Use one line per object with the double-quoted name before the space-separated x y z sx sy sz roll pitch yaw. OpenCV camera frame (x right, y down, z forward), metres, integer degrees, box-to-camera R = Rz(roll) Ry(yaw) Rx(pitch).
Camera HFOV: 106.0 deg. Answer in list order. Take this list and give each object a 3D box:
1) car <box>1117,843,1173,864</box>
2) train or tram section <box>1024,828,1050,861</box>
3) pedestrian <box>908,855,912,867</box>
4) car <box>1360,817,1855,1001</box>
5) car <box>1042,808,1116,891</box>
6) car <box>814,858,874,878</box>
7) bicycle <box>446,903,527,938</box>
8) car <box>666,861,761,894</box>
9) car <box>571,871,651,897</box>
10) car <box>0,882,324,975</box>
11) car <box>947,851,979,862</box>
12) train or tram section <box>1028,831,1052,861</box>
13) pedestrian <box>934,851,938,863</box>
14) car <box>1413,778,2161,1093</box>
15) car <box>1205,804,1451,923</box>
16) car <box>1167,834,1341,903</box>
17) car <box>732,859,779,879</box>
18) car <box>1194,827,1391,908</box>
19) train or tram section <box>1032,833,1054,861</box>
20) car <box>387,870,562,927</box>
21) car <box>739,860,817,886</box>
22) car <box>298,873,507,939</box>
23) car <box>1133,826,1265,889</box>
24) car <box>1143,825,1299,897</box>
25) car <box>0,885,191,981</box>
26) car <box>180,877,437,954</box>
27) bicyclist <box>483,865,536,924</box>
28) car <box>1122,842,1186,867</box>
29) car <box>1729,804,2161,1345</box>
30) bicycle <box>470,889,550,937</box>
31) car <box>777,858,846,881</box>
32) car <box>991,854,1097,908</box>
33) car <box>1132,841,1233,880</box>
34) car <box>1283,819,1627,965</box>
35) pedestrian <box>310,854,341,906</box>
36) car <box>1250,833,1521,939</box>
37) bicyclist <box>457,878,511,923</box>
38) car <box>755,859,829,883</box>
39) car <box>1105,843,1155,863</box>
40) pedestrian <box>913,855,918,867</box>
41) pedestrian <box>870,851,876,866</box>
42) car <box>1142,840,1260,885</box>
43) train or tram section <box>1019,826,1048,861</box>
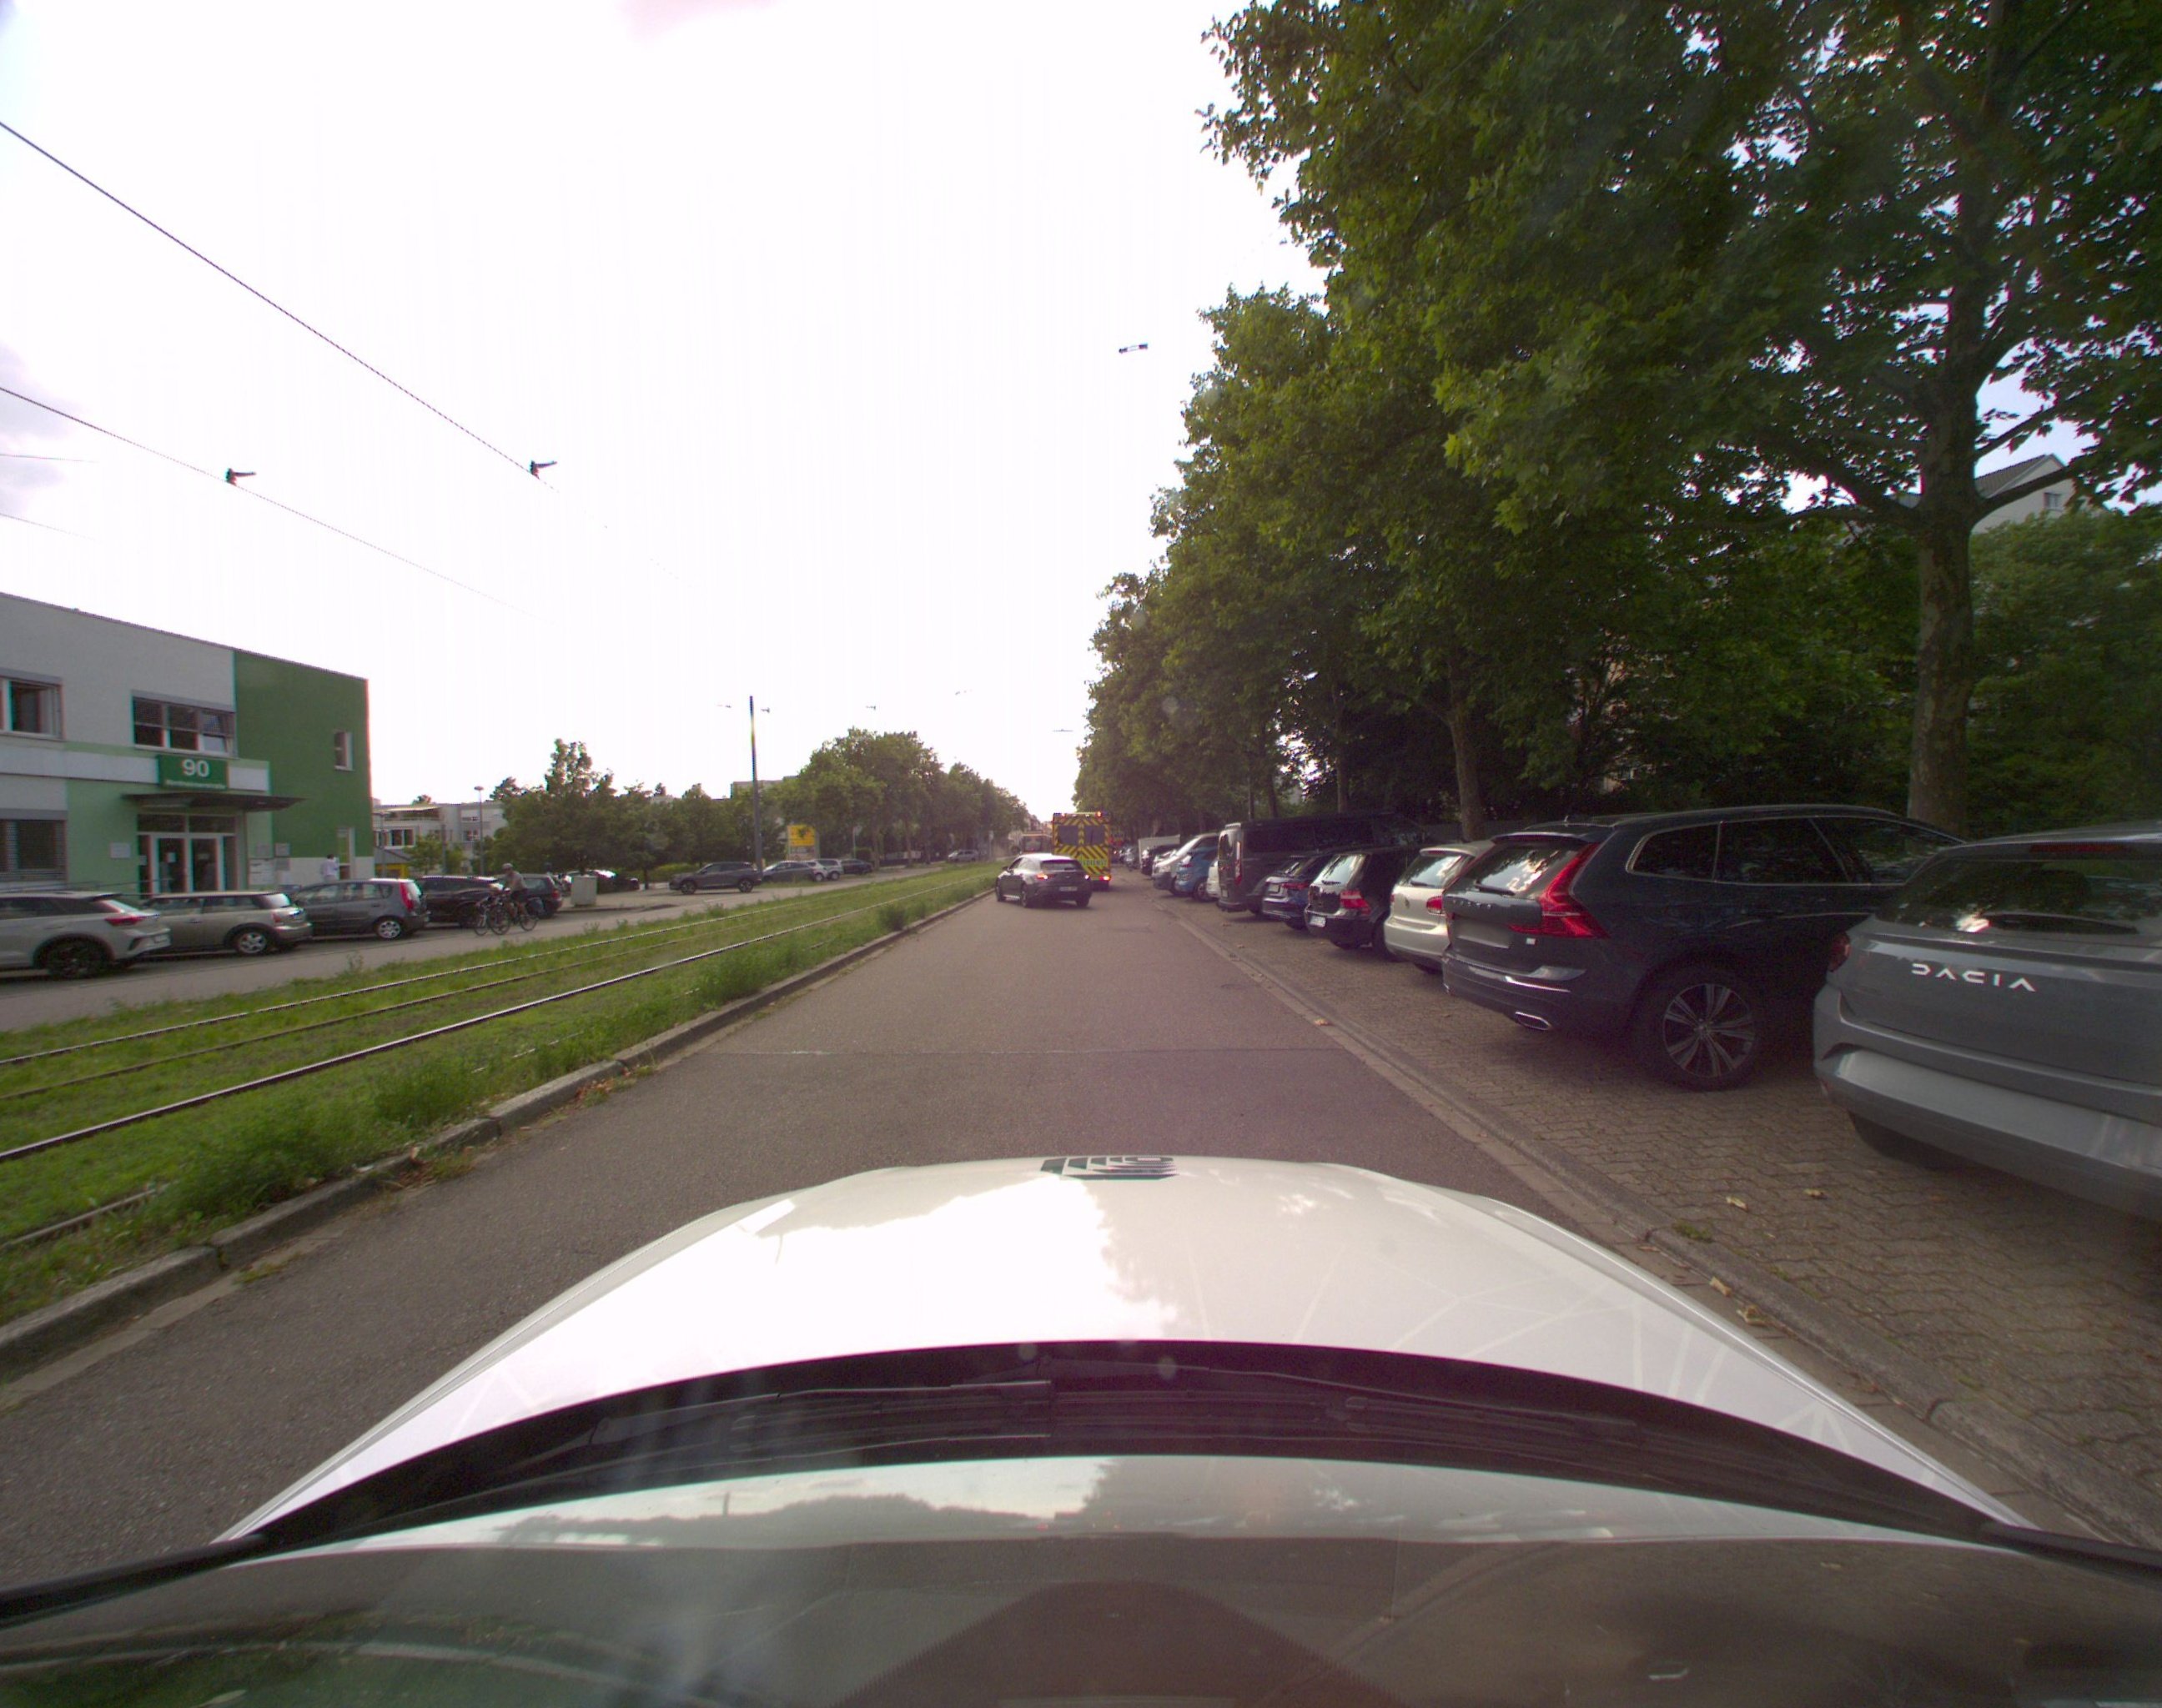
"car" 5.536 -0.039 70.730 4.537 1.608 1.853 -3 0 -4
"train or tram section" -5.142 -1.031 96.587 2.504 3.584 7.443 -3 0 0
"pedestrian" -21.702 0.935 103.376 0.420 1.473 0.467 -2 0 -5
"car" 5.188 0.503 8.420 3.953 1.494 1.755 -3 0 -1
"car" 0.037 -0.159 32.694 2.631 2.966 6.302 1 0 2
"car" -18.934 1.091 65.158 4.256 1.482 1.861 -1 0 -40
"bicycle" -15.540 1.728 21.333 0.642 0.717 1.808 -2 0 6
"car" -18.408 1.160 40.892 4.242 1.482 1.868 -1 0 -25
"car" -29.477 1.897 51.164 3.971 1.565 1.778 0 -1 2
"car" -19.255 1.474 17.294 4.247 1.482 1.866 -3 1 -29
"car" -18.748 0.422 129.691 4.651 1.633 1.861 -3 0 -39
"train or tram section" -5.135 -0.971 104.032 2.504 3.584 7.443 -3 0 0
"pedestrian" -22.832 0.441 128.577 0.465 1.828 0.422 -2 0 -2
"car" 4.842 0.453 5.583 4.364 1.639 1.757 -3 0 1
"car" 5.069 0.183 17.138 4.532 2.123 1.855 -3 0 -1
"car" 4.929 0.398 23.560 4.538 1.660 1.853 -3 0 -5
"car" -29.739 1.360 74.470 3.949 1.750 2.013 0 0 31
"car" 5.360 0.322 21.029 4.532 1.766 1.855 -3 0 -1
"train or tram section" -5.121 -0.911 111.473 2.504 3.584 7.443 -3 0 0
"car" -19.442 1.372 26.374 4.247 1.482 1.866 -3 1 -29
"car" -18.947 1.166 51.026 4.253 1.482 1.863 -1 0 -36
"car" -19.120 1.411 23.244 4.247 1.482 1.866 -3 1 -29
"car" 4.388 0.127 30.688 4.537 2.043 1.853 -3 0 -4
"car" 4.411 0.212 26.094 4.537 2.000 1.853 -3 0 -4
"car" -19.115 1.440 14.346 4.252 1.482 1.863 -3 1 -34
"car" -18.986 1.452 20.321 4.247 1.482 1.866 -3 1 -29
"bicyclist" -14.884 1.047 21.229 0.620 1.457 0.930 -2 0 5
"car" 5.419 0.010 60.879 4.537 1.608 1.853 -3 0 -4
"car" 5.227 0.518 2.906 4.364 1.501 1.757 -3 0 1
"bicycle" -14.864 1.507 21.253 0.642 1.079 1.808 -2 0 6
"car" -18.821 1.091 56.955 4.253 1.482 1.863 -1 0 -36
"car" -1.174 0.693 23.264 1.767 1.385 4.437 0 0 -20
"car" 4.859 0.291 39.319 4.537 1.608 1.853 -3 0 -4
"car" 5.015 0.454 11.149 3.967 1.605 1.750 -3 0 -11
"pedestrian" -27.069 0.919 29.172 0.544 1.828 0.508 -2 0 -2
"car" 5.095 0.510 13.998 3.953 1.494 1.755 -3 0 -1
"bicyclist" -15.562 1.200 21.257 0.636 1.113 0.930 -2 0 6
"car" -19.095 1.093 53.939 4.253 1.482 1.863 -1 0 -36
"car" 4.736 -0.099 78.961 4.537 1.608 1.853 -3 0 -4
"pedestrian" -21.419 0.905 105.254 0.417 1.414 0.470 -2 0 25
"pedestrian" -23.894 0.499 93.695 0.465 1.676 0.603 -2 0 -2
"car" 4.978 0.337 34.162 4.537 1.608 1.853 -3 0 -4
"train or tram section" -5.140 -1.091 89.156 2.504 3.584 7.443 -3 0 0
